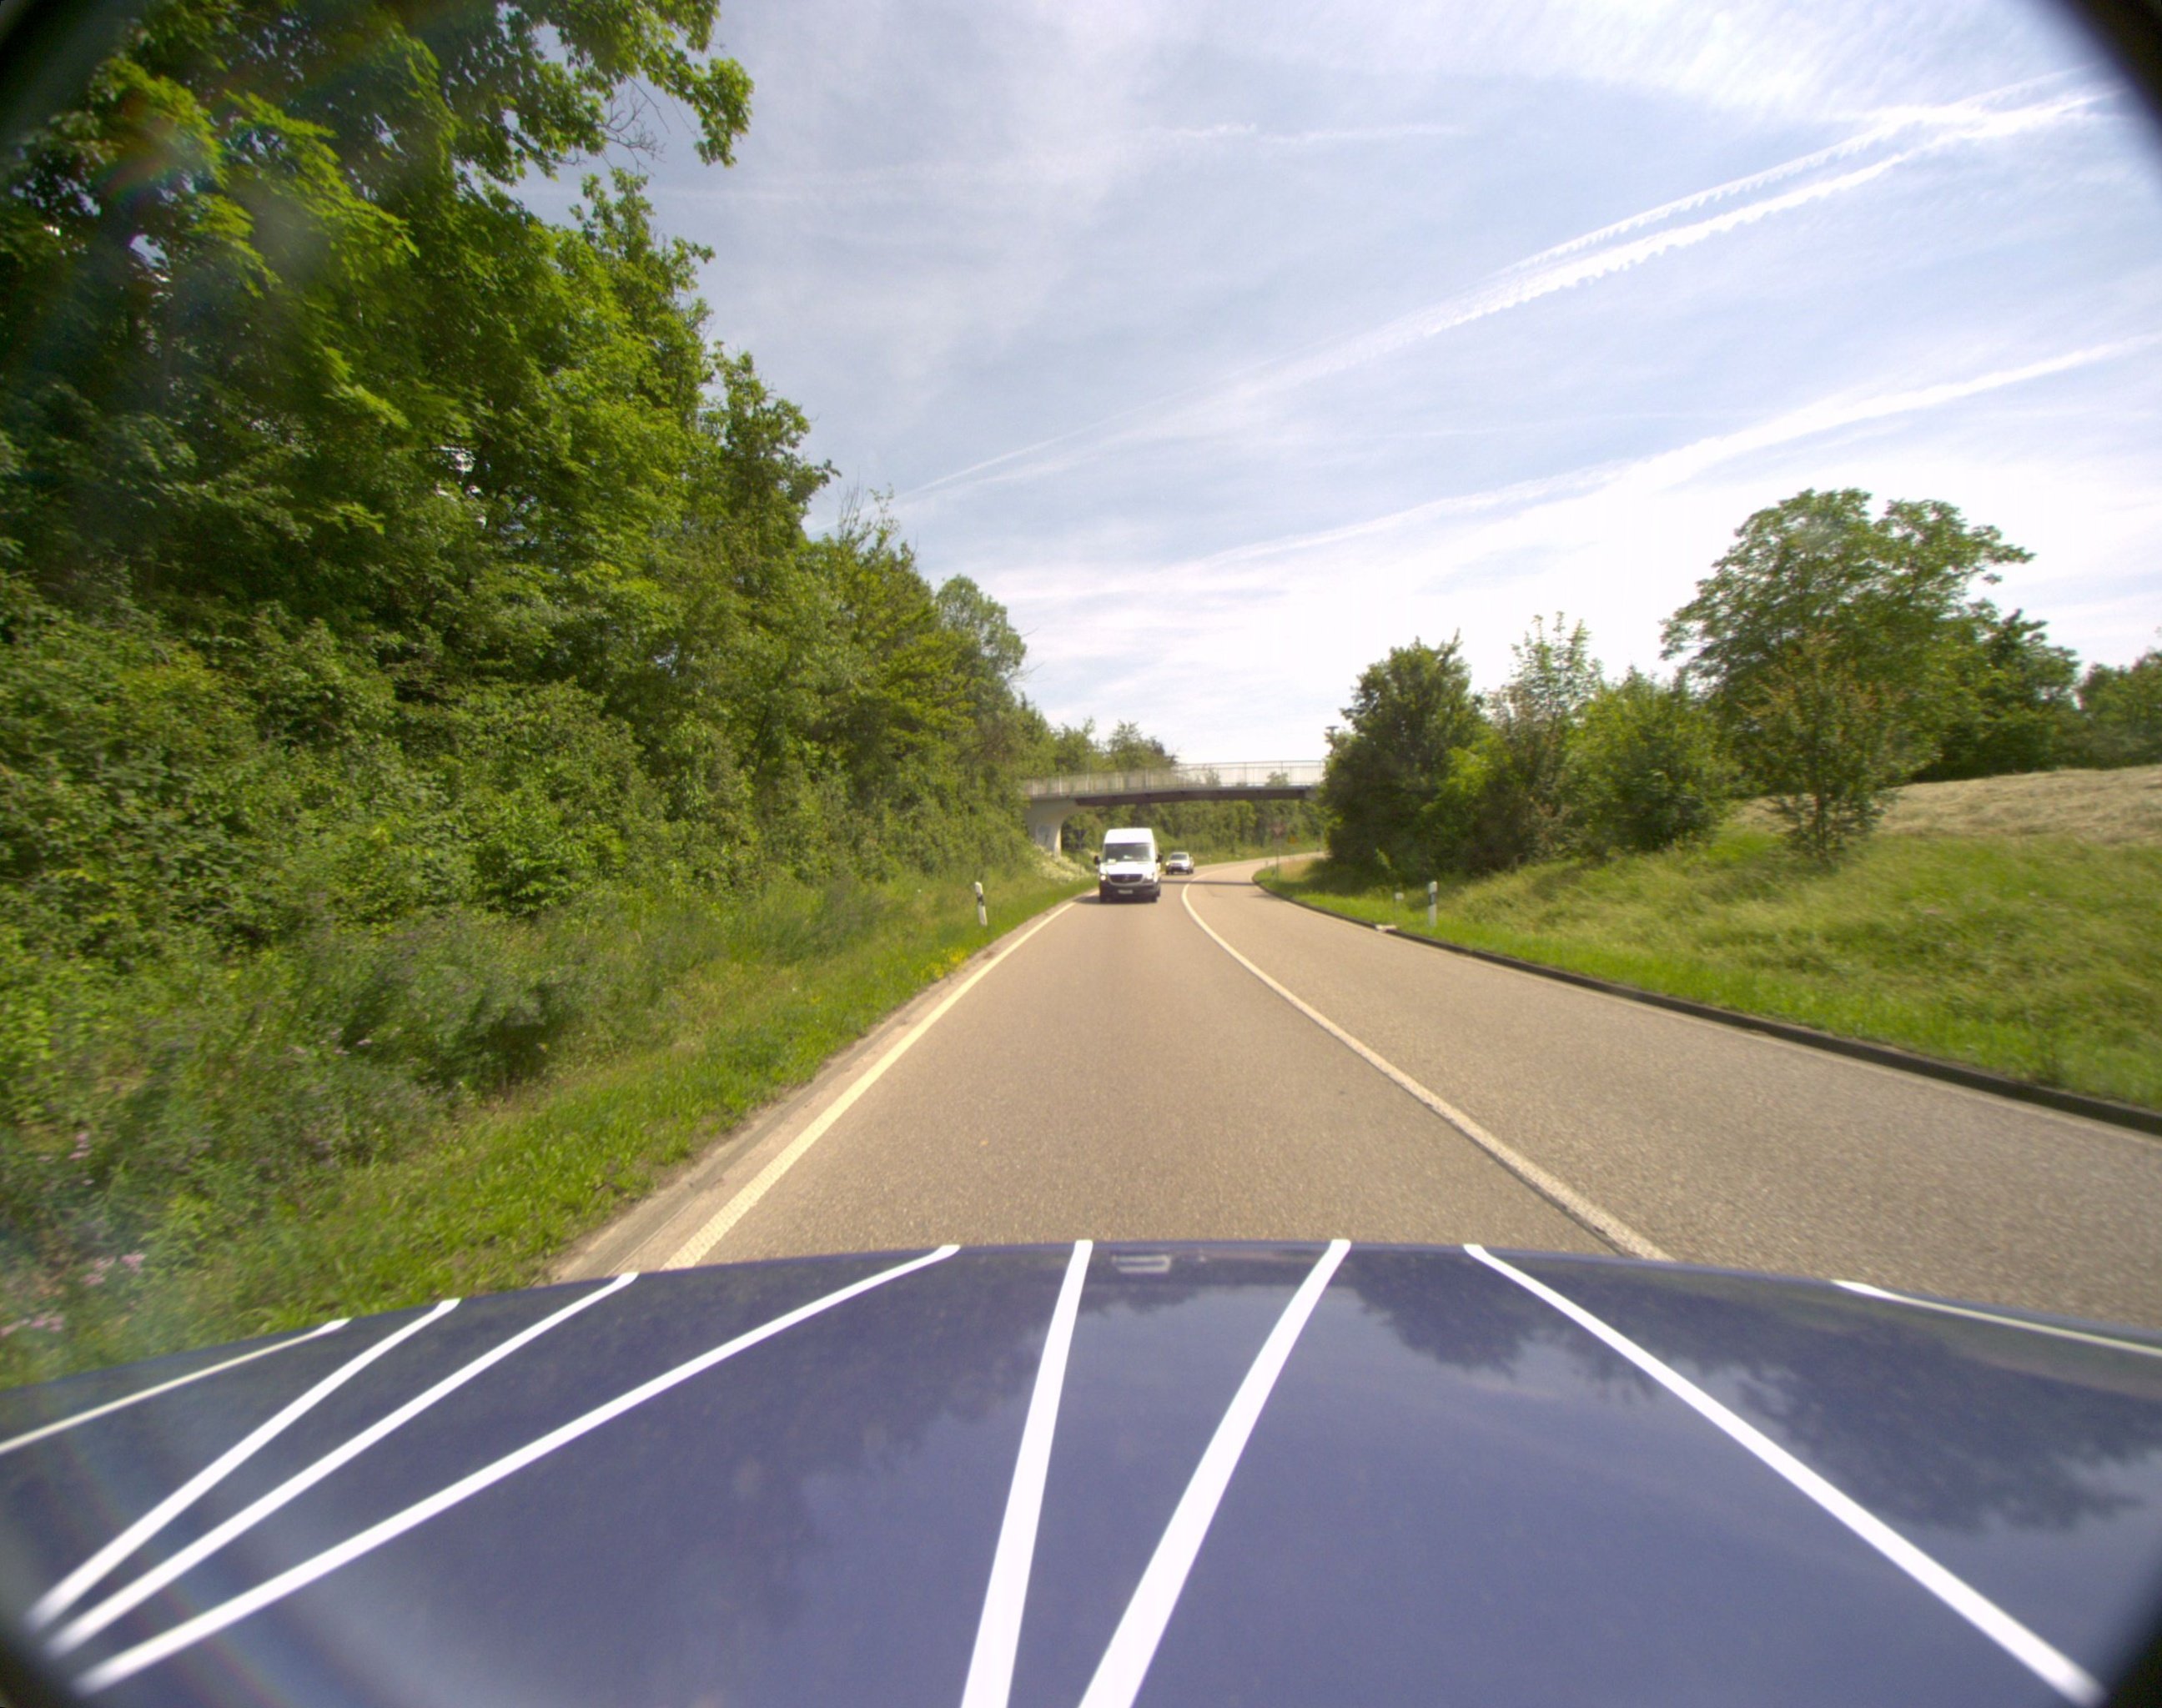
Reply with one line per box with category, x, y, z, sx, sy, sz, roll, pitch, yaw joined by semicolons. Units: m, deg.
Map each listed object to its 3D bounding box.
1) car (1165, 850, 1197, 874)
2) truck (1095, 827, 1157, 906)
car;7.698;0.612;58.207;1.847;1.698;4.093;-1;1;16
truck;1.730;0.404;27.796;1.998;2.571;5.889;0;0;5
